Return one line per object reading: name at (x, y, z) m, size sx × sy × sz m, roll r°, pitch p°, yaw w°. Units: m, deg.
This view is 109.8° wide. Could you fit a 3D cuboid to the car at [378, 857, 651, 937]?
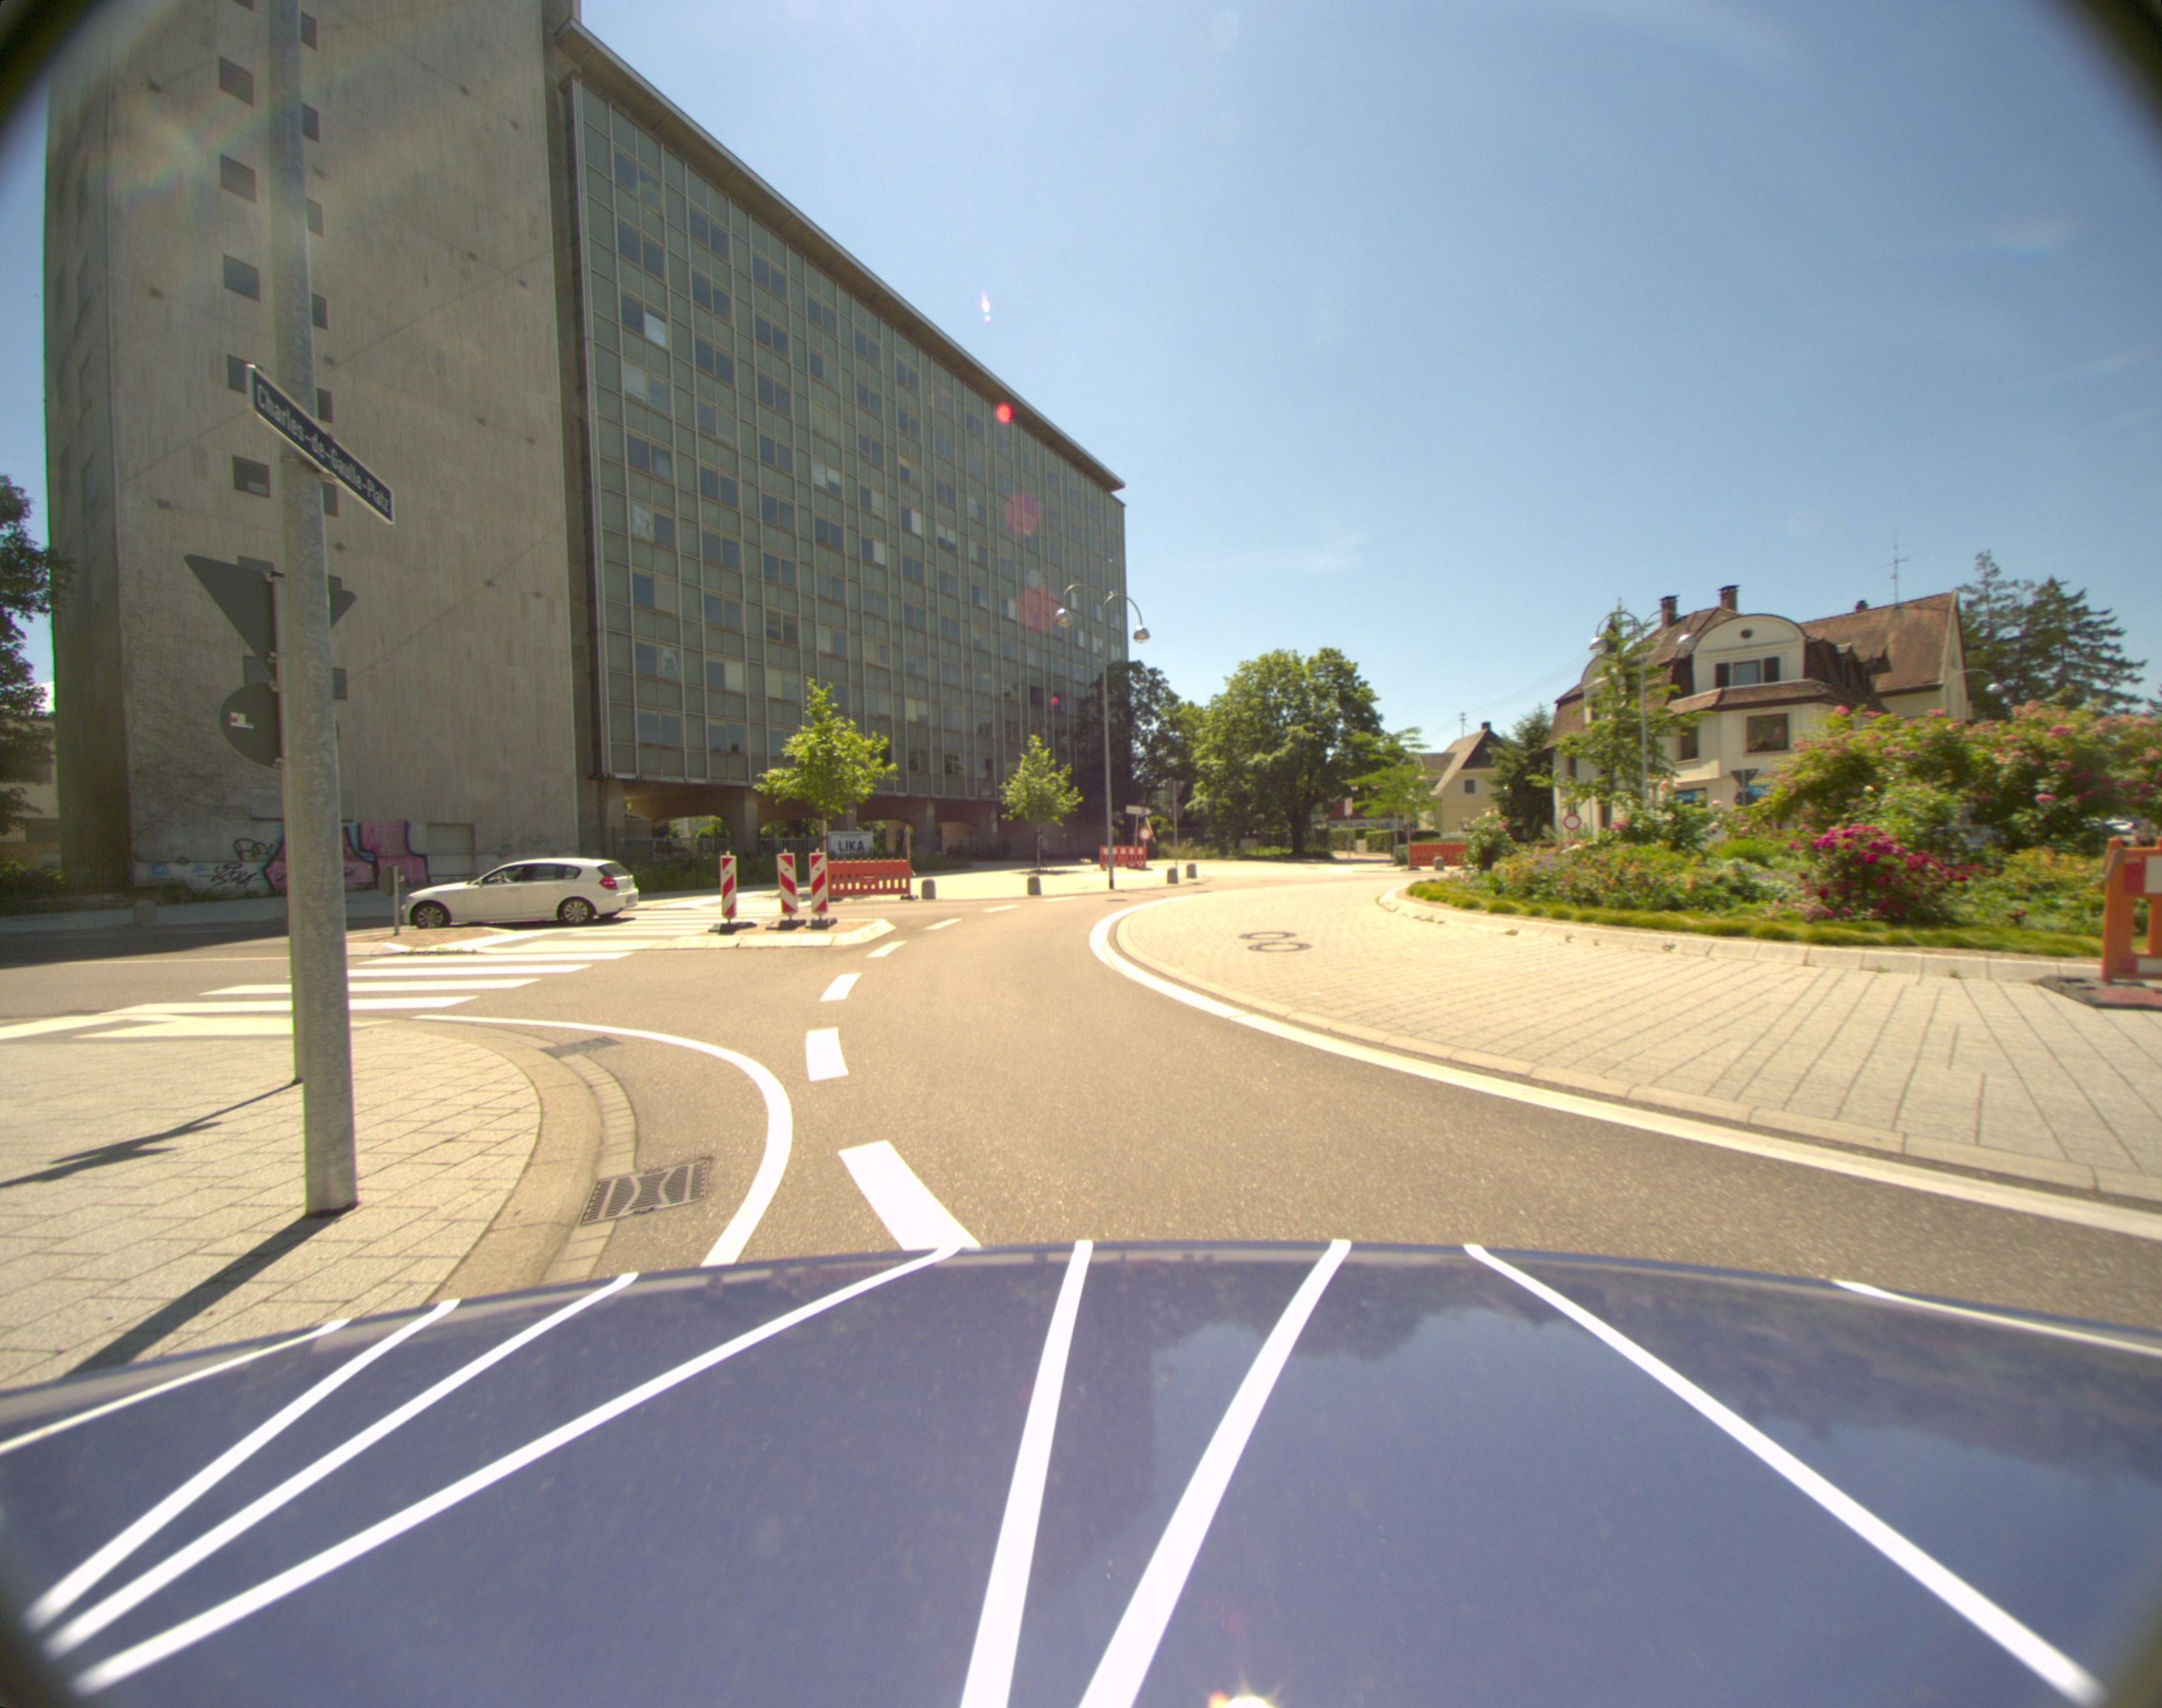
car at (-11.924, 0.849, 16.363) m, size 4.259 × 1.450 × 1.907 m, roll -2°, pitch 1°, yaw -16°
